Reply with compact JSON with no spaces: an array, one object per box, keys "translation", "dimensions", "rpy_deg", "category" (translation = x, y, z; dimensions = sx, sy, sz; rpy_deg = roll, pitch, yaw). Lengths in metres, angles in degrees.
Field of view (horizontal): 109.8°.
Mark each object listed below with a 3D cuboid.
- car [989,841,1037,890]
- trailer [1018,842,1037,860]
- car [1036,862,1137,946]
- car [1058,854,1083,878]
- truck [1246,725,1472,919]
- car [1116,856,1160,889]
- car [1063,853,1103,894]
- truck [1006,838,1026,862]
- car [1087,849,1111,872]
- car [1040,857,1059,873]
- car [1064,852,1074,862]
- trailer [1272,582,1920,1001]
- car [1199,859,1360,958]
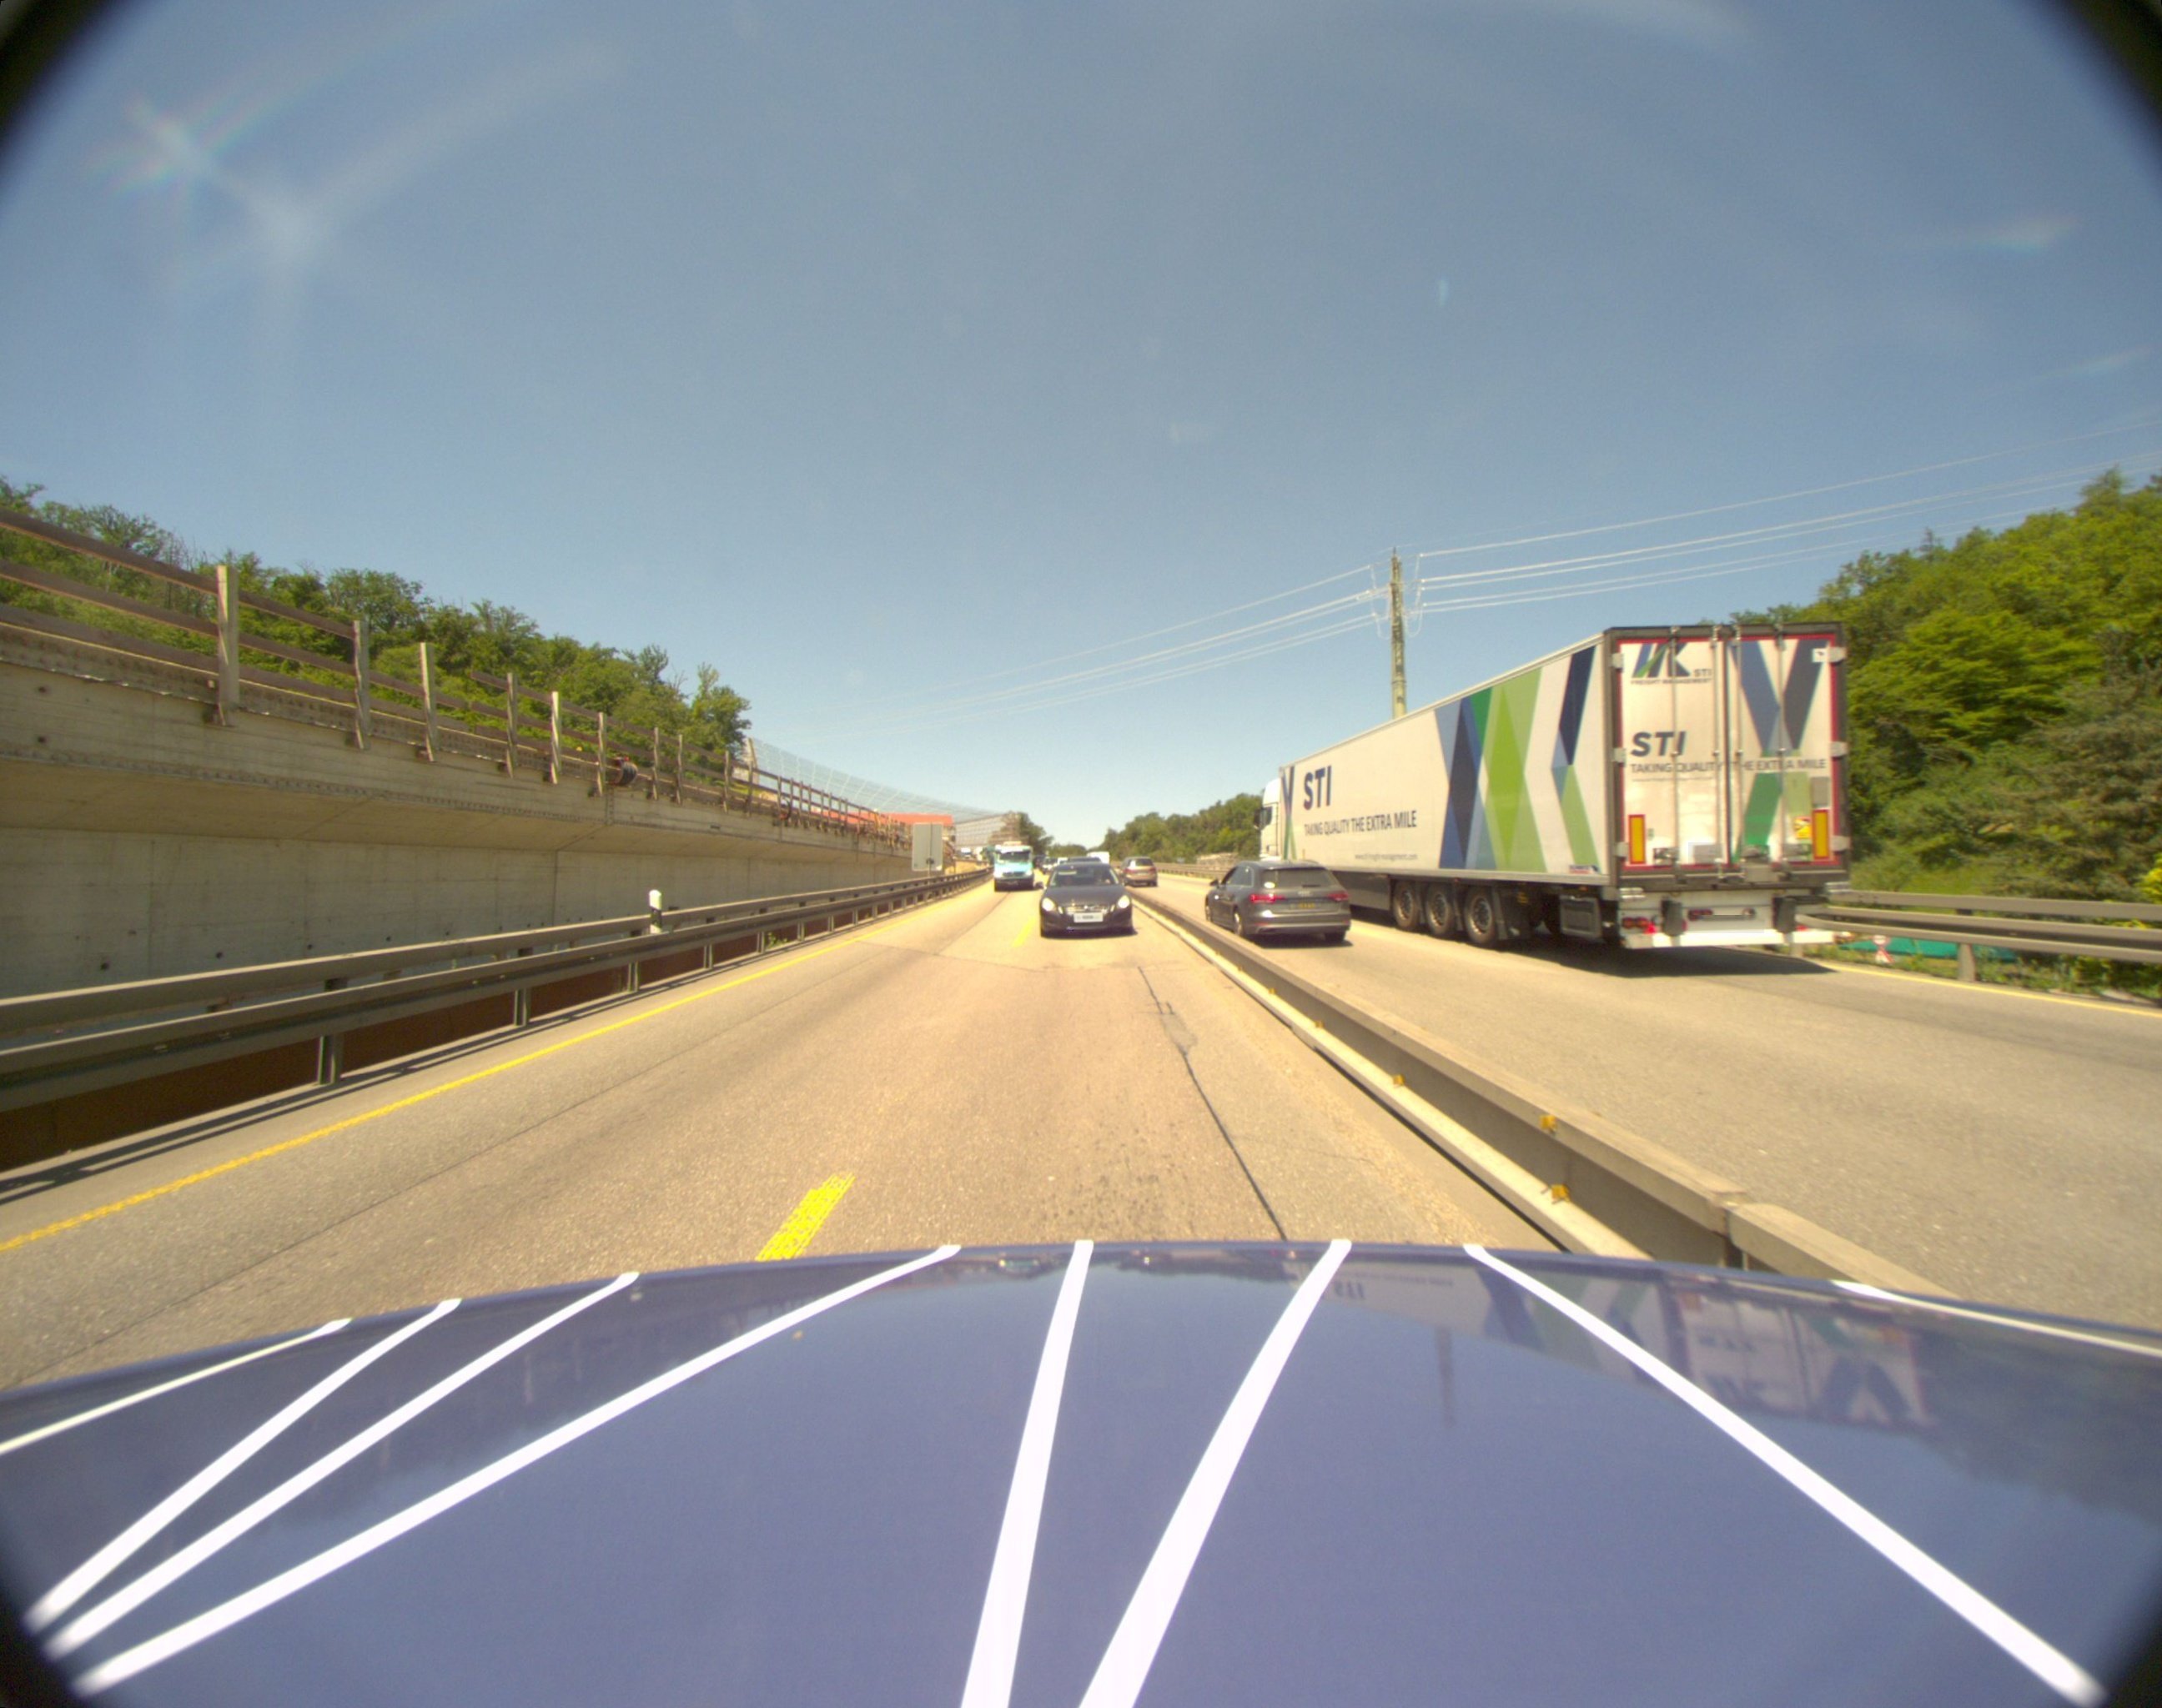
[{"translation":[-3.503,0.546,40.342],"dimensions":[2.217,2.312,6.899],"rpy_deg":[-1,0,-3],"category":"car"},{"translation":[-14.048,-0.894,199.603],"dimensions":[3.500,4.460,12.914],"rpy_deg":[-2,1,-10],"category":"trailer"},{"translation":[-0.007,0.950,16.343],"dimensions":[1.844,1.475,4.562],"rpy_deg":[-1,0,-3],"category":"car"},{"translation":[-0.725,0.860,54.892],"dimensions":[1.736,1.557,3.619],"rpy_deg":[-2,1,0],"category":"car"},{"translation":[7.292,-0.766,21.614],"dimensions":[3.311,4.337,8.300],"rpy_deg":[-2,1,0],"category":"truck"},{"translation":[2.932,0.909,39.806],"dimensions":[1.850,1.565,3.999],"rpy_deg":[-1,1,-1],"category":"car"},{"translation":[0.104,0.753,31.383],"dimensions":[1.519,1.543,3.860],"rpy_deg":[-1,1,0],"category":"car"},{"translation":[-10.127,-0.581,117.874],"dimensions":[2.472,3.464,9.861],"rpy_deg":[-2,1,-7],"category":"truck"},{"translation":[1.585,0.539,68.465],"dimensions":[1.999,1.999,4.856],"rpy_deg":[-1,1,-1],"category":"car"},{"translation":[-3.000,1.046,73.470],"dimensions":[1.647,1.366,3.344],"rpy_deg":[-2,1,1],"category":"car"},{"translation":[-2.411,0.684,156.594],"dimensions":[1.999,1.999,4.856],"rpy_deg":[-1,1,-1],"category":"car"},{"translation":[7.309,-0.720,15.161],"dimensions":[3.260,4.353,14.056],"rpy_deg":[-2,1,0],"category":"trailer"},{"translation":[3.437,0.856,14.067],"dimensions":[1.795,1.444,4.634],"rpy_deg":[-1,1,0],"category":"car"}]
